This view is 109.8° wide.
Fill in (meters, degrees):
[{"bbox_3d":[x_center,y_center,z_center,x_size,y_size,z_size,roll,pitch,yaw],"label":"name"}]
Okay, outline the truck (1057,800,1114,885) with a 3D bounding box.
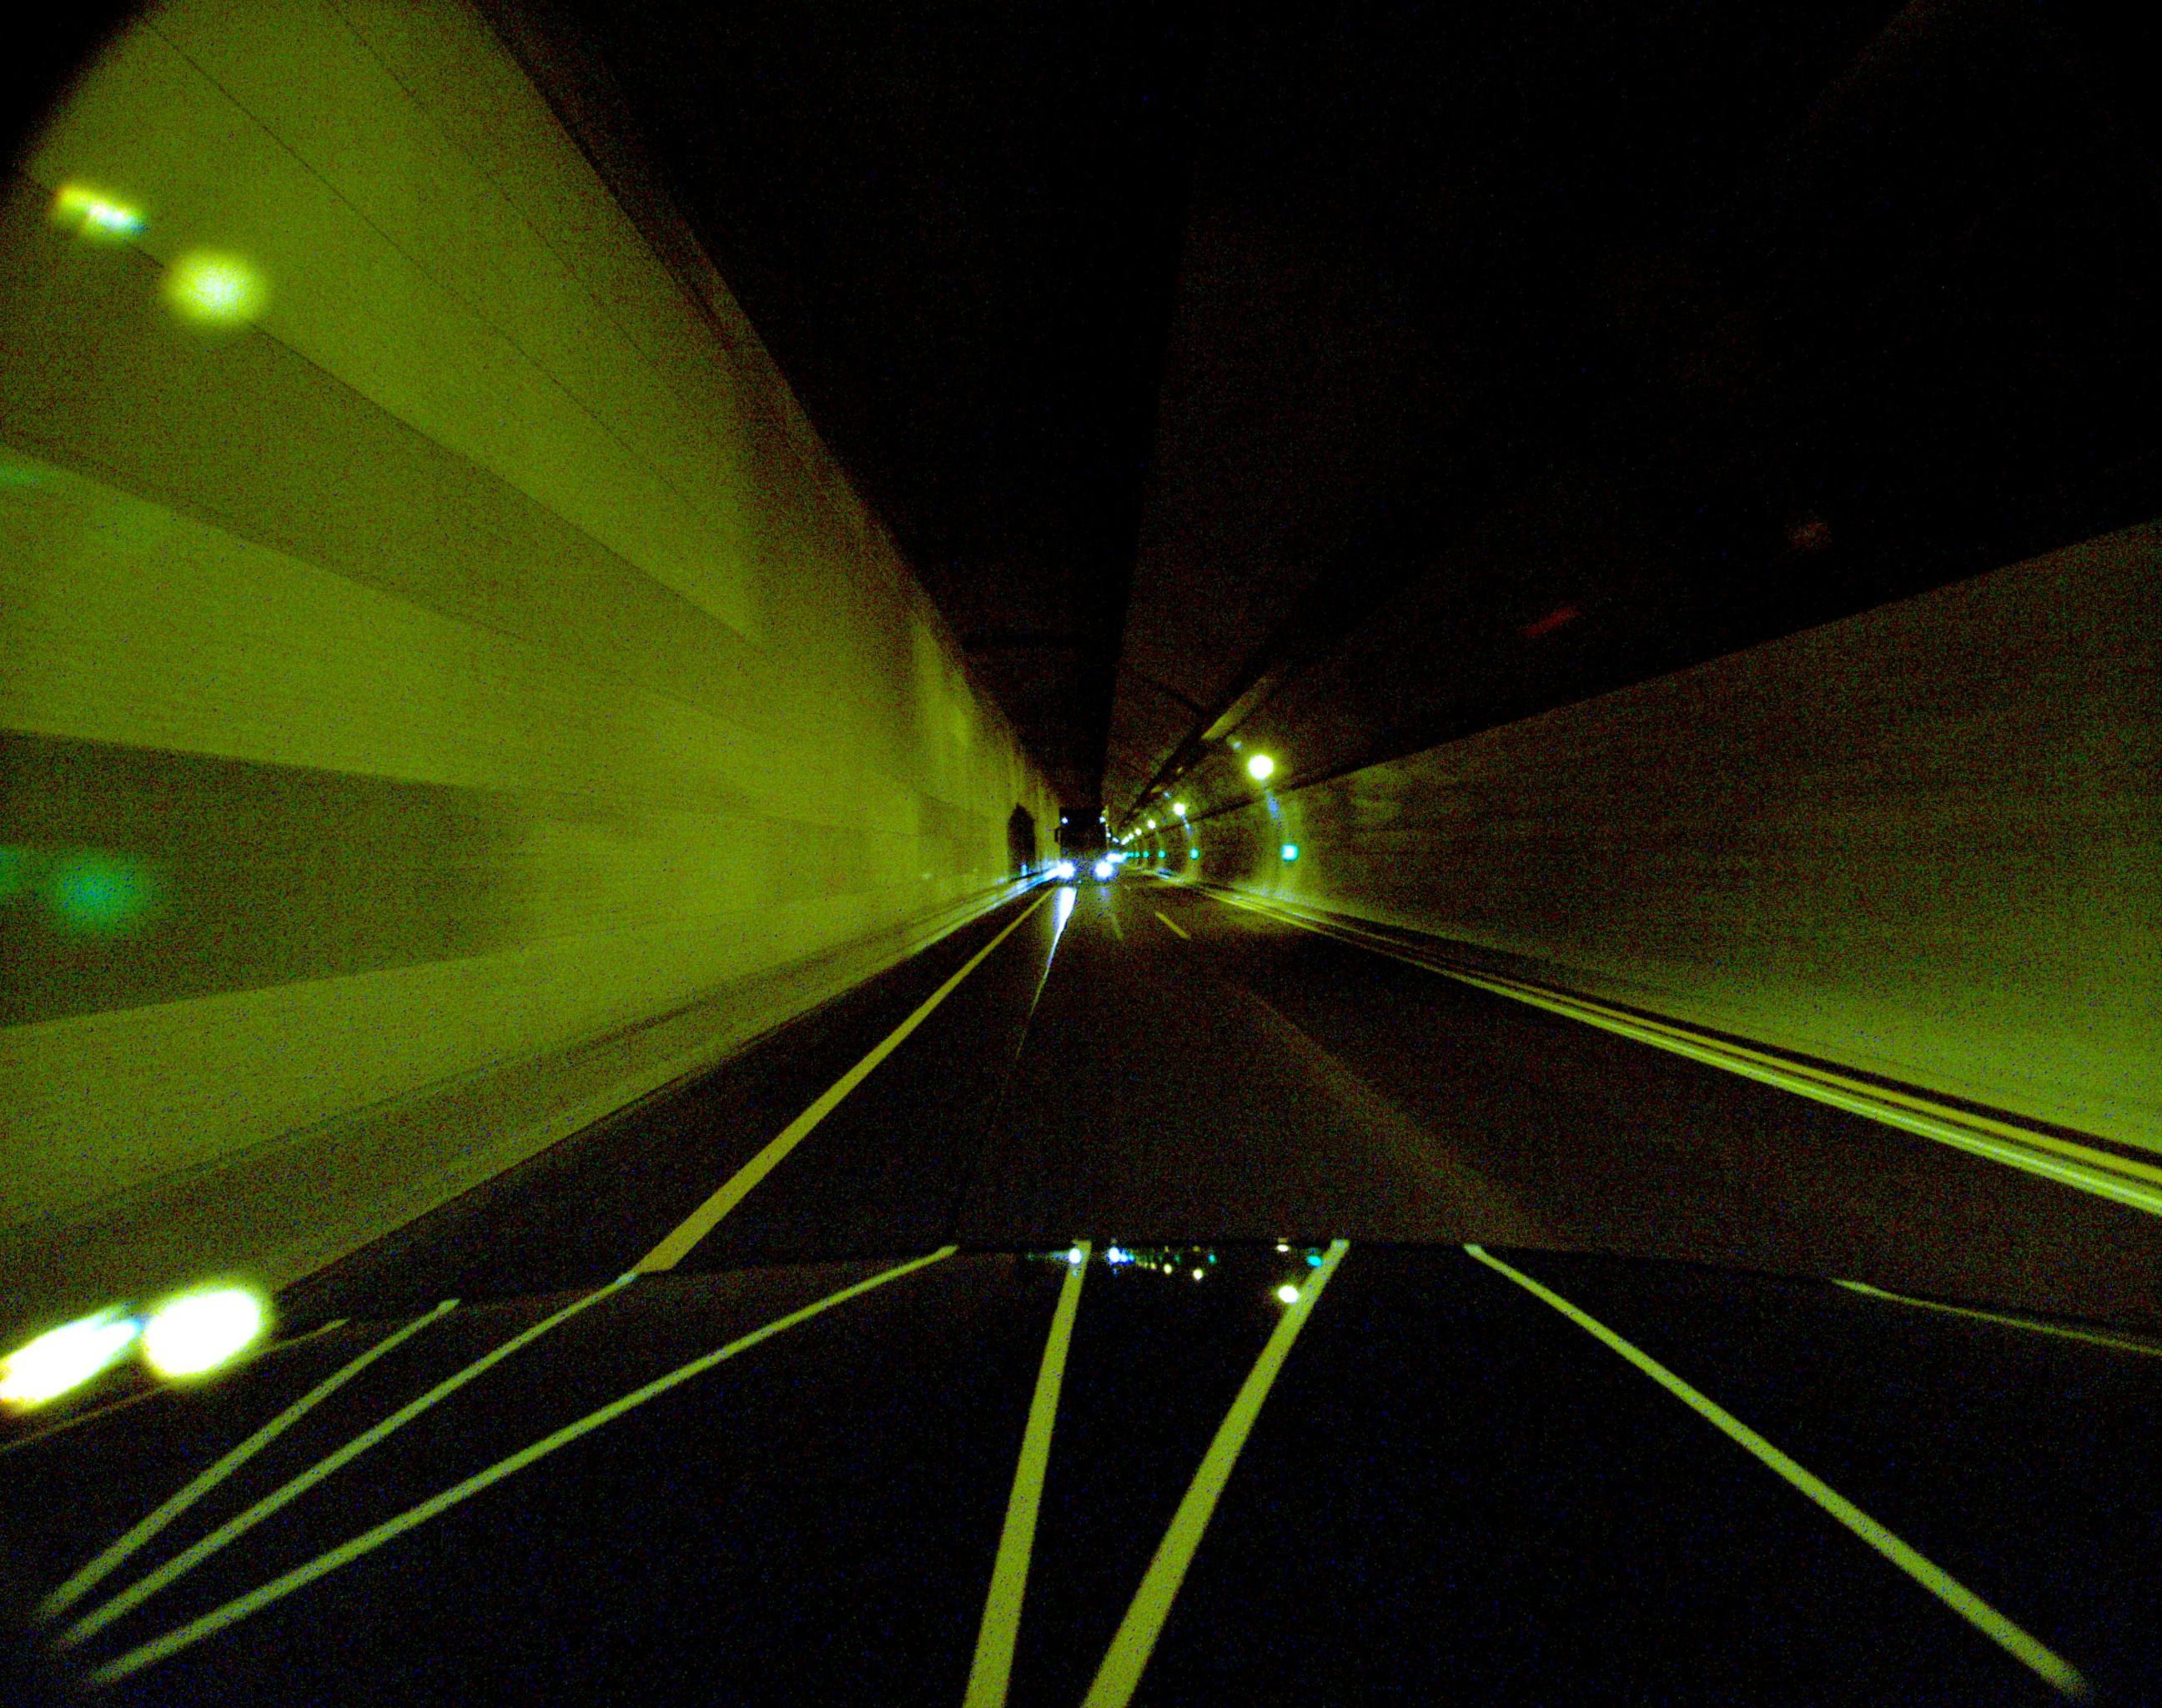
[{"bbox_3d":[0.260,-0.611,41.602,2.769,4.198,7.977,-1,1,1],"label":"truck"}]
